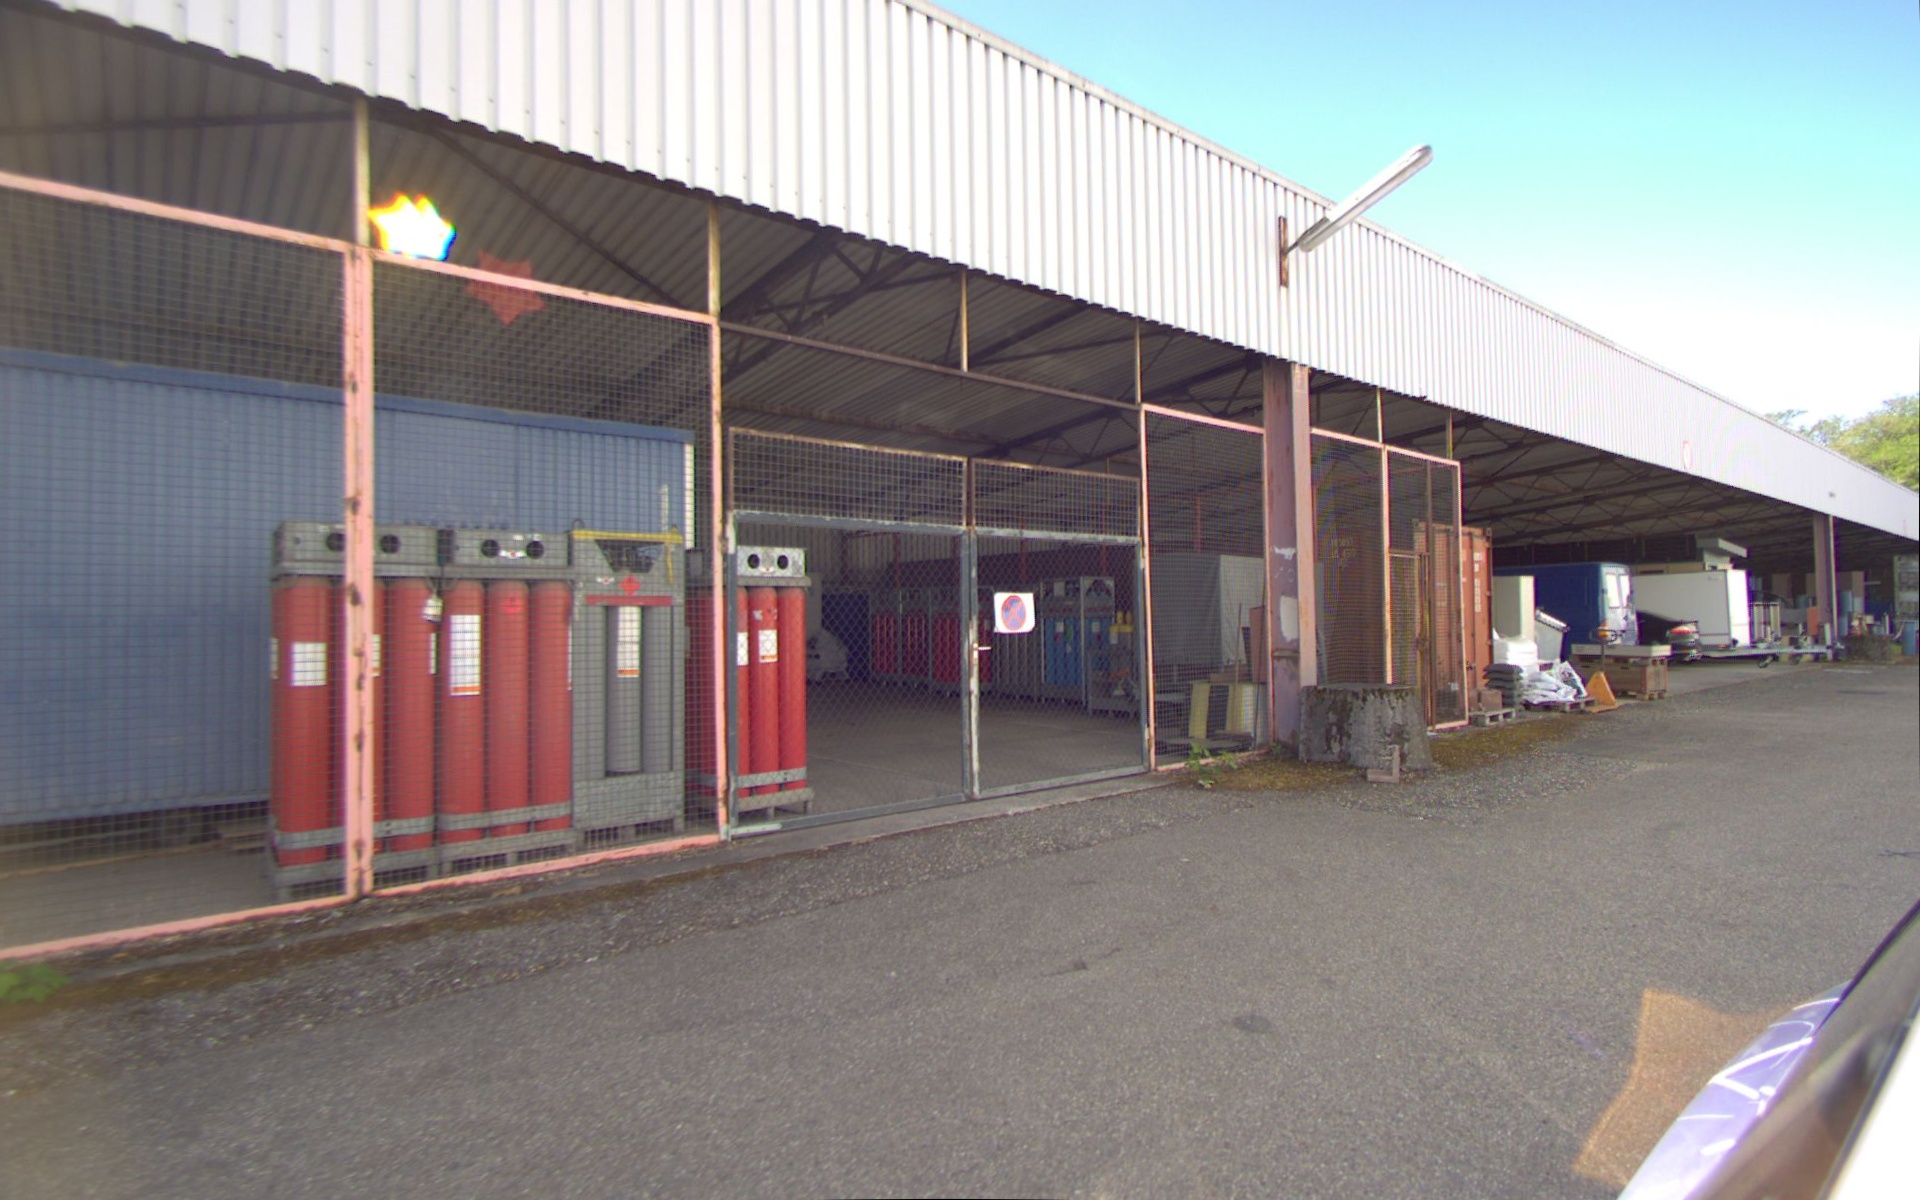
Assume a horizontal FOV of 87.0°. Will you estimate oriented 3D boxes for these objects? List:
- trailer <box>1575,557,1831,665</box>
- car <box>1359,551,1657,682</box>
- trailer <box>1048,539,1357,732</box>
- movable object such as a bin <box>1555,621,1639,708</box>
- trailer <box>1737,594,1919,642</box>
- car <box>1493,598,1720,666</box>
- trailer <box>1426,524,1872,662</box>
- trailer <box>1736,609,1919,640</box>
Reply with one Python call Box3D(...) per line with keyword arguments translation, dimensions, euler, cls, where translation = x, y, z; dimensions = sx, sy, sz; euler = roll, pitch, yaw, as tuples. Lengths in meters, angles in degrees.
Box3D(translation=(18.423, 0.290, 25.349), dimensions=(1.792, 2.422, 4.827), euler=(0, -1, -35), cls="trailer")
Box3D(translation=(11.059, 0.348, 20.803), dimensions=(1.964, 2.355, 4.988), euler=(0, -2, -39), cls="car")
Box3D(translation=(3.201, 0.402, 12.976), dimensions=(4.028, 2.085, 1.858), euler=(0, -1, -41), cls="trailer")
Box3D(translation=(9.070, 0.892, 14.407), dimensions=(1.215, 1.179, 0.583), euler=(0, -1, -36), cls="movable object such as a bin")
Box3D(translation=(31.881, 0.659, 37.261), dimensions=(1.993, 1.649, 4.875), euler=(0, -1, -40), cls="trailer")
Box3D(translation=(15.634, 0.752, 24.657), dimensions=(1.746, 1.515, 4.334), euler=(0, -1, -42), cls="car")
Box3D(translation=(18.897, -0.081, 28.726), dimensions=(2.803, 3.257, 10.056), euler=(0, -1, -39), cls="trailer")
Box3D(translation=(34.213, 0.940, 39.599), dimensions=(1.993, 1.134, 5.832), euler=(1, -1, -40), cls="trailer")
